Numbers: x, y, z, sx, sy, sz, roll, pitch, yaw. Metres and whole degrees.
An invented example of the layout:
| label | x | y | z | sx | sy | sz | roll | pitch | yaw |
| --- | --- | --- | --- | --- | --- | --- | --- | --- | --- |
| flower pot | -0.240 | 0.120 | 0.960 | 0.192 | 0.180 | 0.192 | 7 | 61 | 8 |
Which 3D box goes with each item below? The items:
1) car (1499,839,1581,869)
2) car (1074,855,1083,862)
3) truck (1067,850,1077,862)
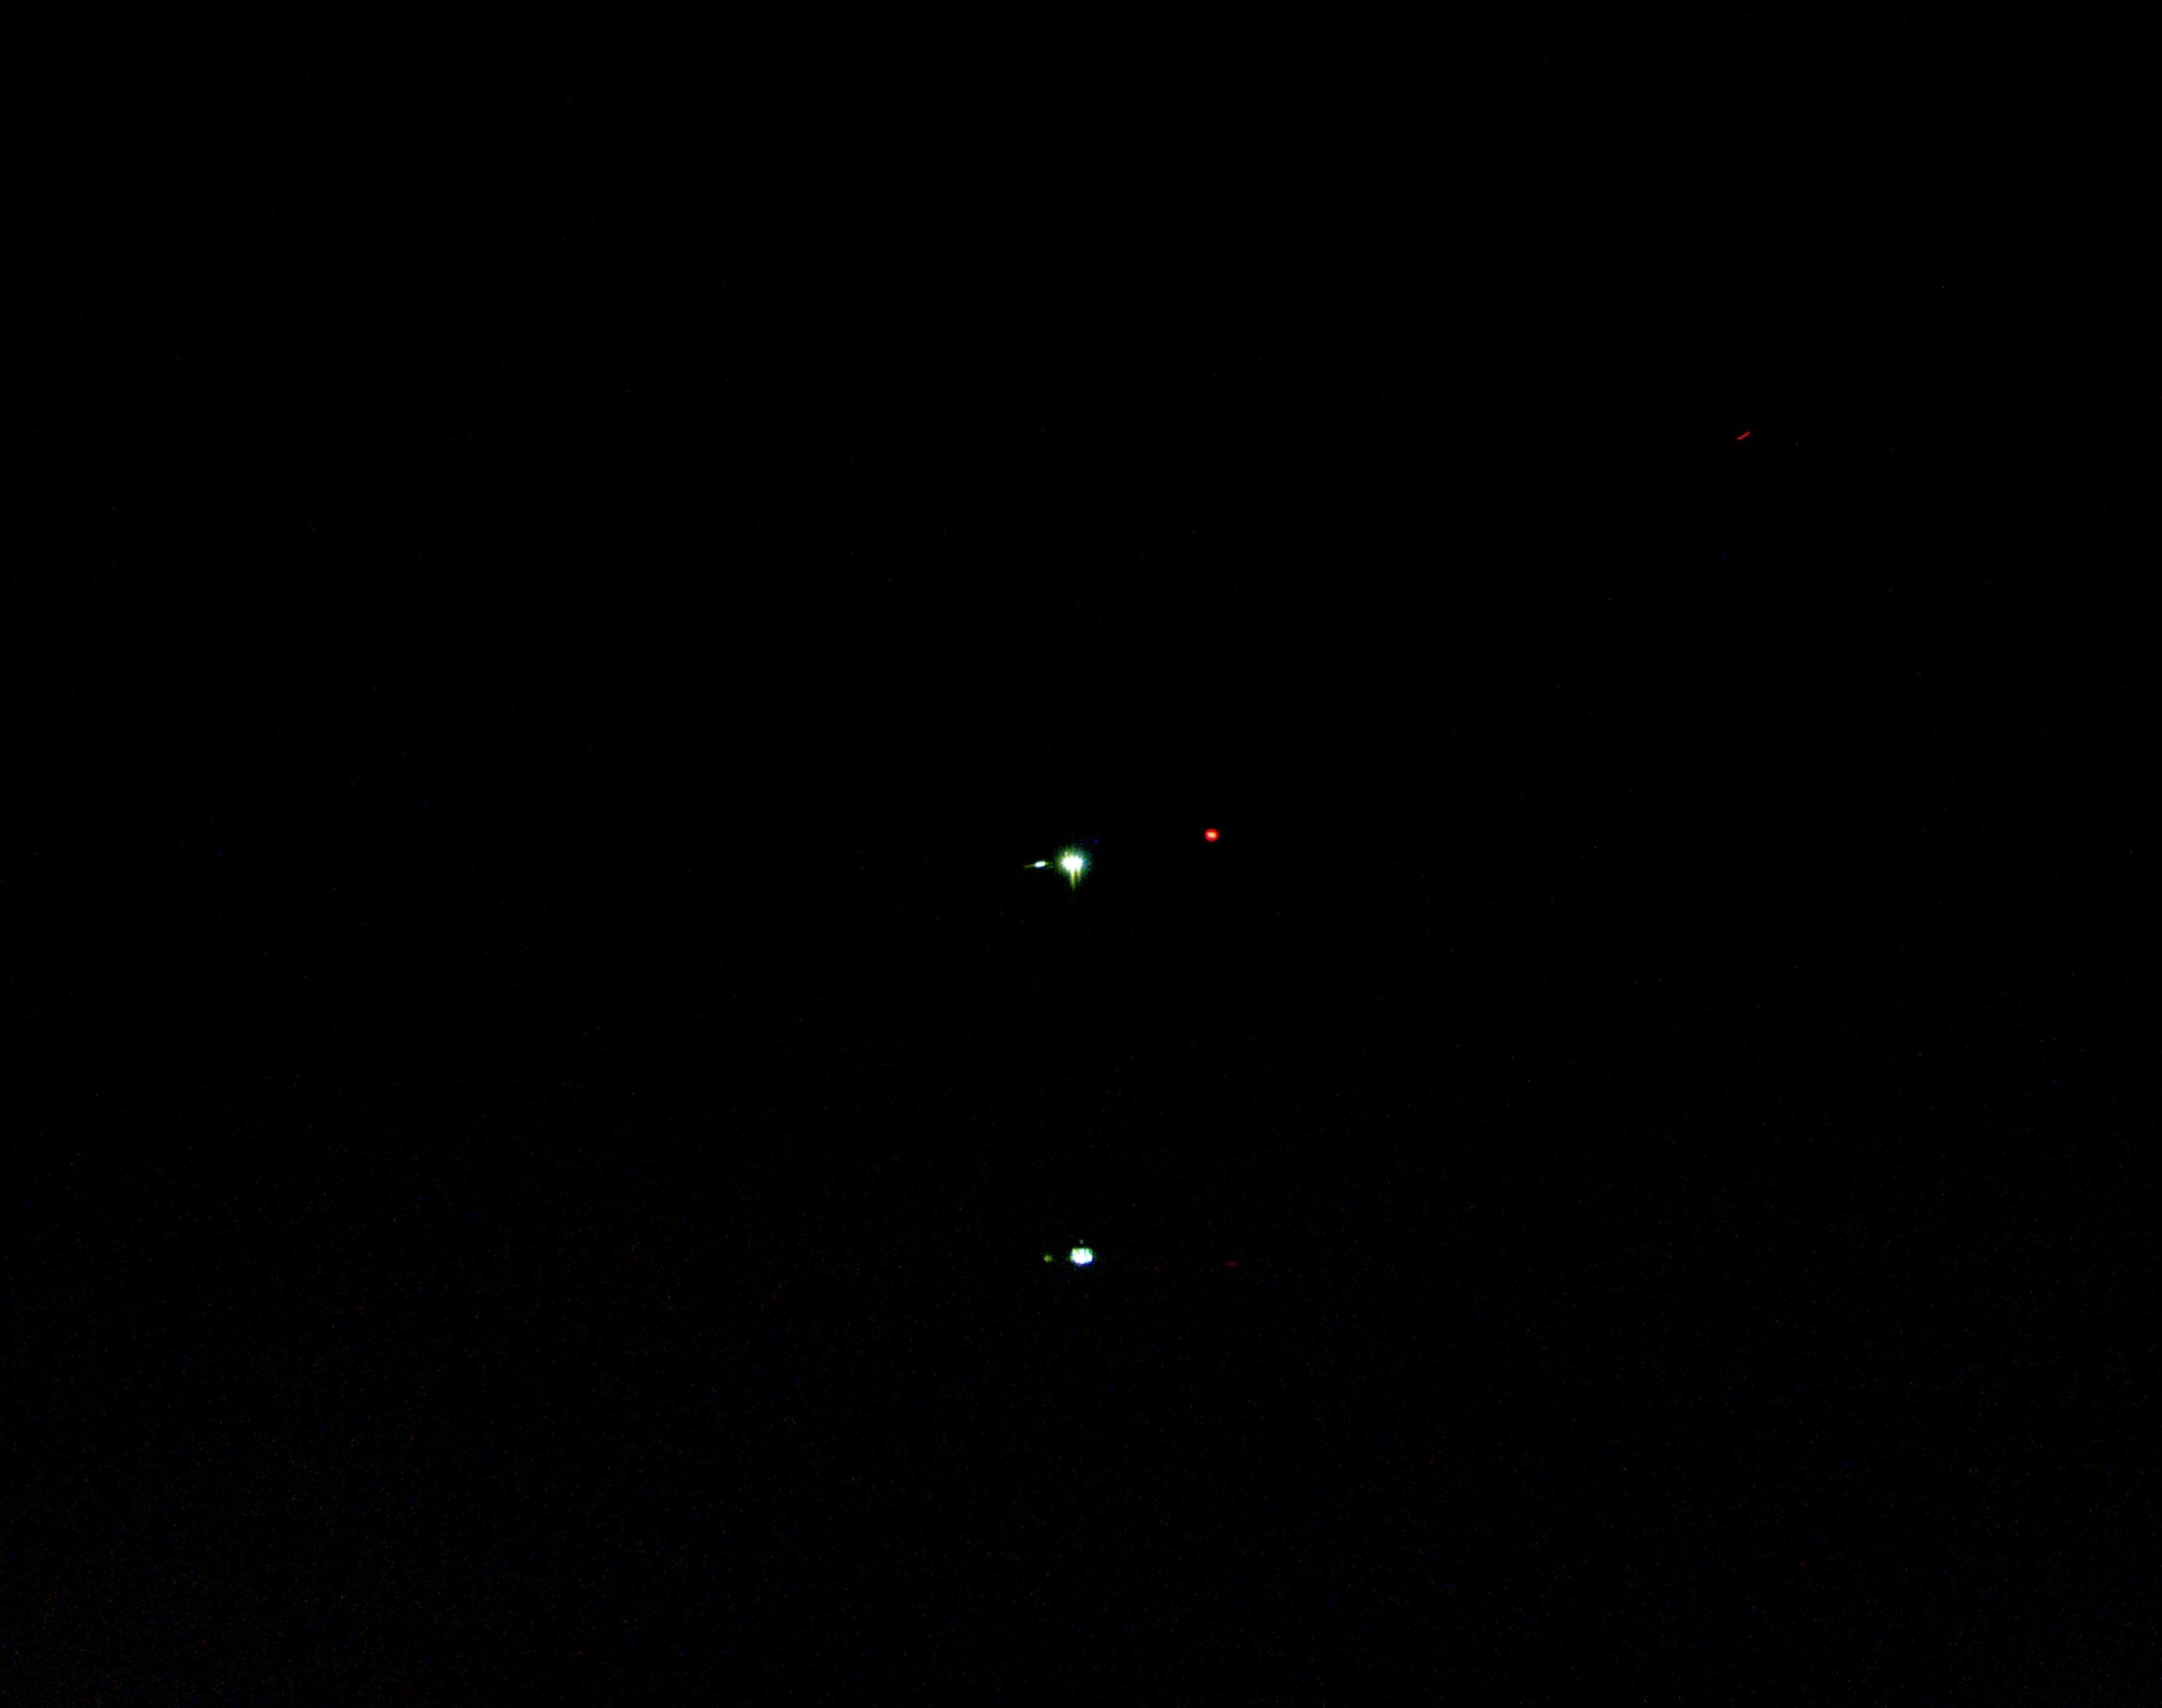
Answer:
| label | x | y | z | sx | sy | sz | roll | pitch | yaw |
| --- | --- | --- | --- | --- | --- | --- | --- | --- | --- |
| car | 23.612 | -0.001 | 39.280 | 1.846 | 1.412 | 4.000 | -2 | 0 | 1 |
| car | -0.603 | 1.136 | 178.165 | 1.846 | 1.474 | 4.293 | -3 | -1 | 1 |
| truck | -3.107 | 0.692 | 257.128 | 3.004 | 3.876 | 12.888 | -3 | -1 | -1 |
